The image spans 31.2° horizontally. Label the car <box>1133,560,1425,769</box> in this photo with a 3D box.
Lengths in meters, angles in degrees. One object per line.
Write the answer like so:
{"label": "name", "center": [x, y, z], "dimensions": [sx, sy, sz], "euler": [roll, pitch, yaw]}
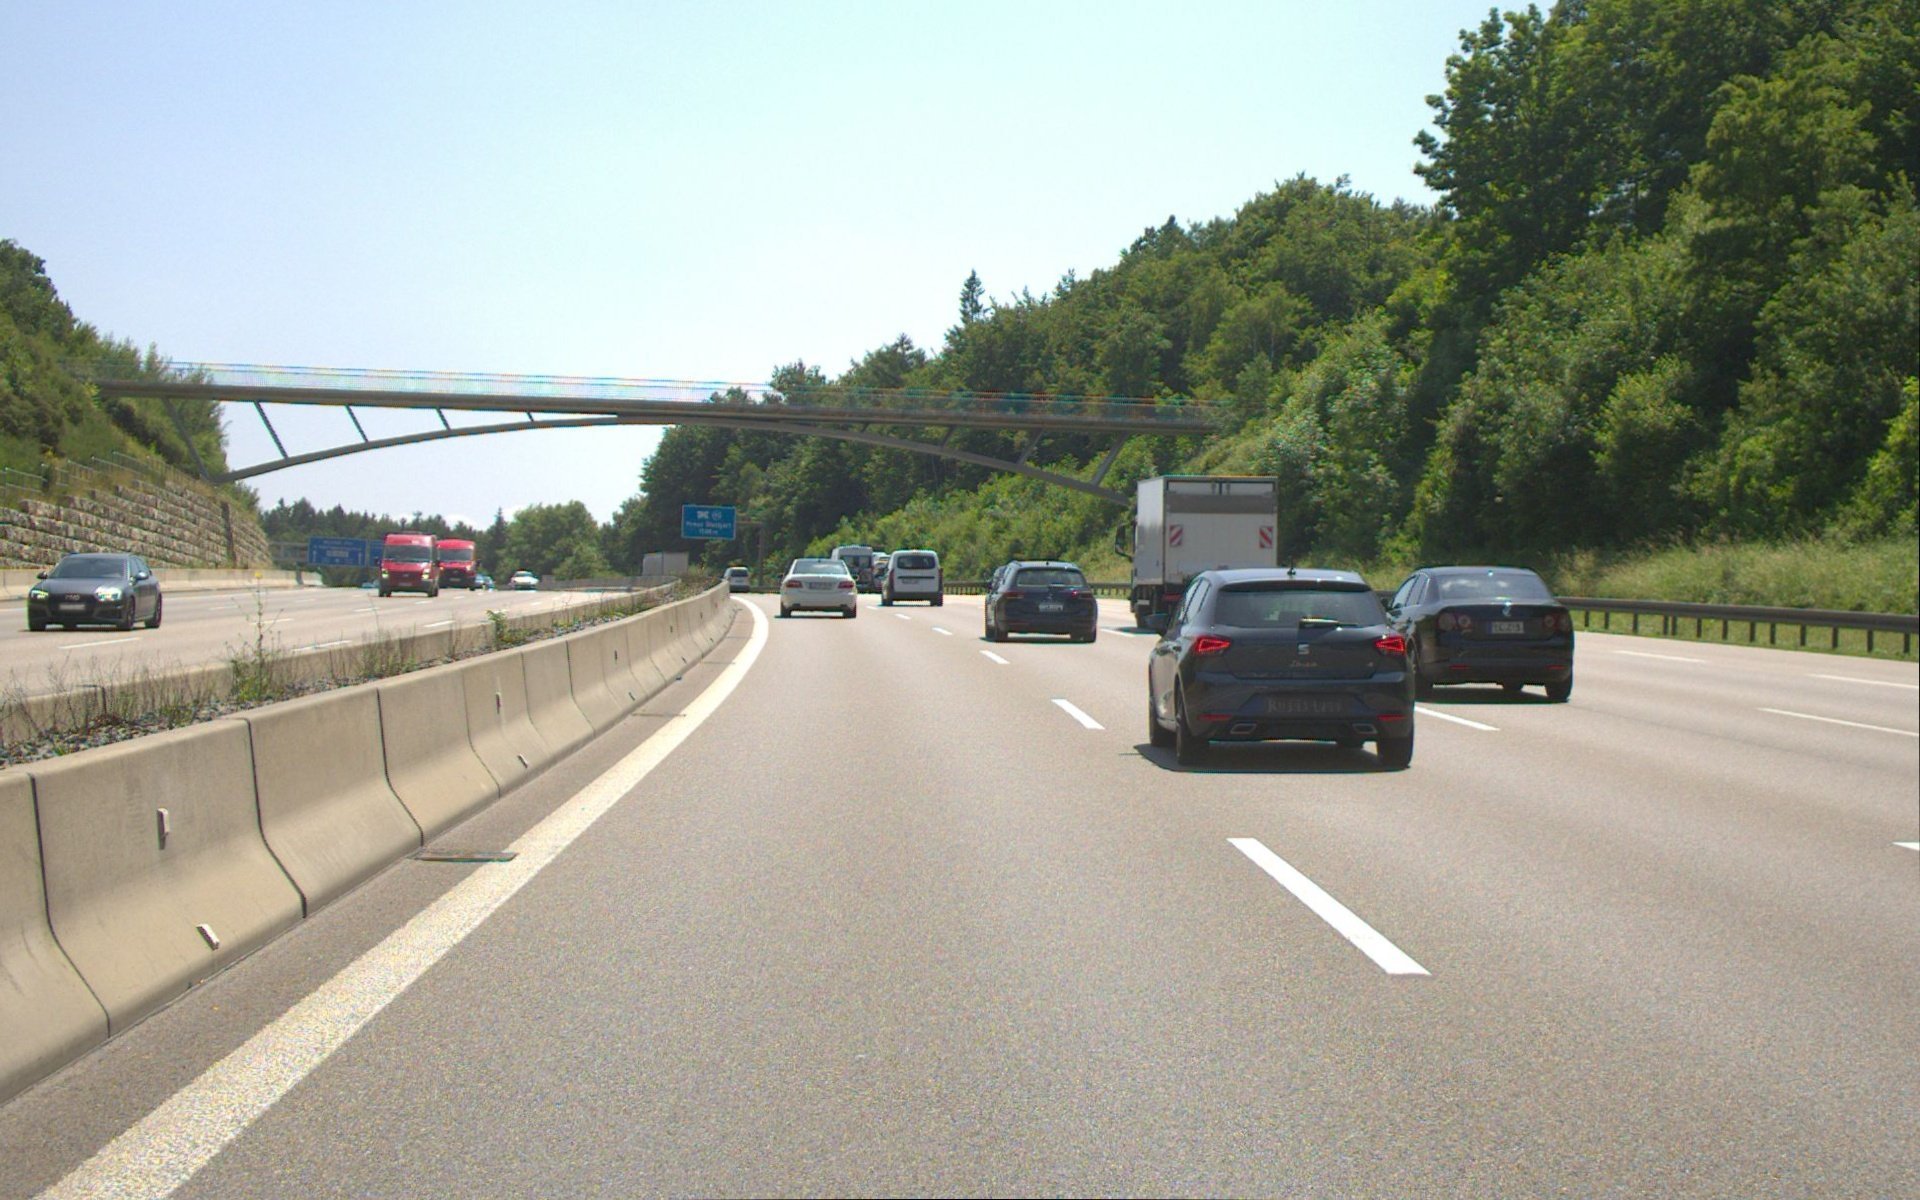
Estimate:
{"label": "car", "center": [2.344, 0.433, 26.139], "dimensions": [1.708, 1.428, 4.000], "euler": [1, 1, -2]}

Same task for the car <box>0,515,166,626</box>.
{"label": "car", "center": [-15.961, -0.506, 62.384], "dimensions": [1.993, 1.865, 5.252], "euler": [2, 0, -2]}

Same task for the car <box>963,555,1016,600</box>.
{"label": "car", "center": [1.276, -1.010, 151.867], "dimensions": [2.145, 1.851, 4.001], "euler": [2, 1, -1]}

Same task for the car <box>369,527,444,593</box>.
{"label": "car", "center": [-20.180, -1.470, 125.537], "dimensions": [1.993, 2.328, 5.544], "euler": [1, 1, -2]}

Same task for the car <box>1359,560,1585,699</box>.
{"label": "car", "center": [5.621, 0.277, 38.269], "dimensions": [1.665, 1.404, 4.903], "euler": [1, 1, -1]}

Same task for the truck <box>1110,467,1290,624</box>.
{"label": "truck", "center": [5.042, -1.159, 73.647], "dimensions": [2.985, 3.156, 7.575], "euler": [1, 1, -2]}

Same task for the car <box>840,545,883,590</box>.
{"label": "car", "center": [-5.273, -1.732, 185.123], "dimensions": [2.265, 2.363, 4.702], "euler": [1, 0, -1]}

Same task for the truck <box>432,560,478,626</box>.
{"label": "truck", "center": [-24.700, -0.379, 168.080], "dimensions": [2.109, 2.966, 7.017], "euler": [1, 2, -8]}

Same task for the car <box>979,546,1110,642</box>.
{"label": "car", "center": [1.482, -0.138, 62.057], "dimensions": [1.993, 1.628, 4.760], "euler": [1, 1, -3]}

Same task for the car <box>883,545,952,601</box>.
{"label": "car", "center": [-1.403, -0.891, 111.110], "dimensions": [2.103, 1.738, 4.688], "euler": [1, 1, -2]}

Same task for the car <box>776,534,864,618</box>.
{"label": "car", "center": [-3.488, -0.575, 85.106], "dimensions": [2.012, 1.839, 4.000], "euler": [1, -3, -4]}
